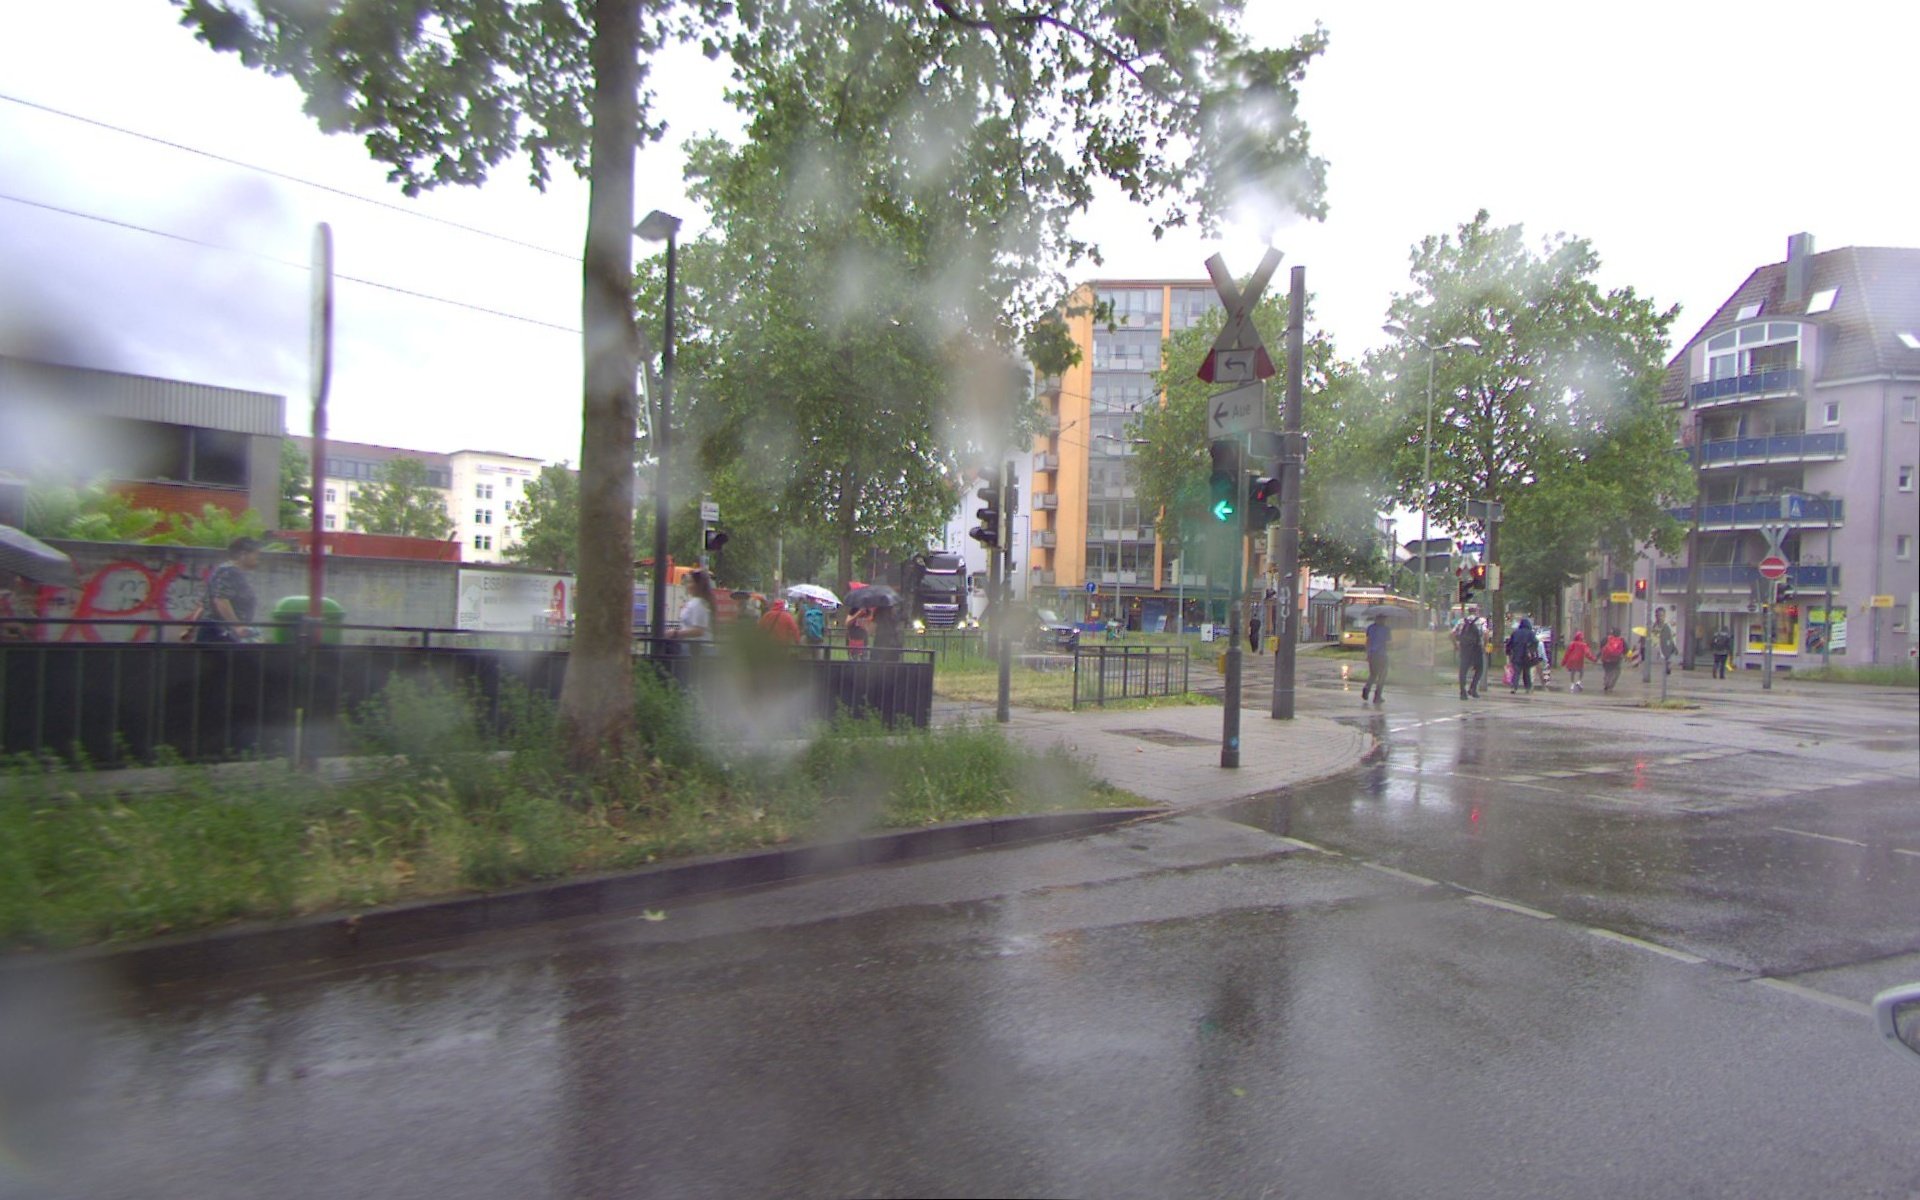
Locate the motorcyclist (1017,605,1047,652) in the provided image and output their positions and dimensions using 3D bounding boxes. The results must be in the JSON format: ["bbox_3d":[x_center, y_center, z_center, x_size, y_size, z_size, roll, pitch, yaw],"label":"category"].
[{"bbox_3d":[2.582,1.028,35.933,0.768,1.635,0.771,2,0,-23],"label":"motorcyclist"}]

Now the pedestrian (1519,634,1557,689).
[{"bbox_3d":[15.017,1.580,26.112,0.704,1.367,0.650,2,0,-44],"label":"pedestrian"}]

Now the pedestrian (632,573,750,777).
[{"bbox_3d":[-2.451,0.649,9.162,0.675,1.752,0.752,2,0,42],"label":"pedestrian"}]

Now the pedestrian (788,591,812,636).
[{"bbox_3d":[-6.937,0.594,43.556,0.765,1.891,0.940,2,0,3],"label":"pedestrian"}]

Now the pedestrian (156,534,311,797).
[{"bbox_3d":[-5.479,0.460,7.571,0.838,1.828,0.818,2,0,-41],"label":"pedestrian"}]

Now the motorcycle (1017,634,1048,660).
[{"bbox_3d":[2.591,1.672,35.941,0.436,0.853,1.539,2,-1,-22],"label":"motorcycle"}]

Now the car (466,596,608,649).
[{"bbox_3d":[-11.963,0.618,28.500,3.447,1.323,1.405,2,0,9],"label":"car"}]

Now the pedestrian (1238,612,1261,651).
[{"bbox_3d":[13.707,1.466,47.612,0.941,1.789,0.953,2,0,20],"label":"pedestrian"}]

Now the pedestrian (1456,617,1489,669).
[{"bbox_3d":[18.329,1.536,35.891,0.943,1.789,0.951,2,0,31],"label":"pedestrian"}]

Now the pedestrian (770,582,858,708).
[{"bbox_3d":[-2.226,0.678,15.461,0.966,1.851,1.077,-1,-1,15],"label":"pedestrian"}]

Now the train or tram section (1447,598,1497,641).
[{"bbox_3d":[47.139,1.832,92.242,2.819,3.592,15.339,2,0,31],"label":"train or tram section"}]

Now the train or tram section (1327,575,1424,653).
[{"bbox_3d":[24.319,0.949,57.956,2.839,3.818,17.213,2,-1,30],"label":"train or tram section"}]

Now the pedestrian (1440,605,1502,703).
[{"bbox_3d":[9.756,1.008,19.175,0.854,1.778,0.826,2,0,41],"label":"pedestrian"}]

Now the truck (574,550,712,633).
[{"bbox_3d":[-13.400,-0.328,42.757,5.384,3.205,2.164,2,0,-16],"label":"truck"}]

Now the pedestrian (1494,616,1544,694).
[{"bbox_3d":[12.589,1.230,22.641,0.823,1.721,0.689,-1,0,17],"label":"pedestrian"}]

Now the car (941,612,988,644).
[{"bbox_3d":[0.203,1.399,51.404,1.358,1.523,3.261,1,0,-19],"label":"car"}]

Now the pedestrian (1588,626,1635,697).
[{"bbox_3d":[15.794,1.475,24.363,0.810,1.646,0.724,0,0,-37],"label":"pedestrian"}]

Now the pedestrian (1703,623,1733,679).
[{"bbox_3d":[26.054,1.743,34.532,0.777,1.880,0.679,2,0,37],"label":"pedestrian"}]

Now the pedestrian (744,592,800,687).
[{"bbox_3d":[-3.223,0.669,17.244,0.782,1.593,0.659,-1,0,2],"label":"pedestrian"}]

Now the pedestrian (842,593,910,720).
[{"bbox_3d":[-1.164,0.774,13.985,0.782,1.705,0.660,-1,0,8],"label":"pedestrian"}]

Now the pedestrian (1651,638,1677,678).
[{"bbox_3d":[25.501,2.083,36.385,0.638,1.414,0.782,2,0,26],"label":"pedestrian"}]

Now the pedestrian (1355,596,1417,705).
[{"bbox_3d":[7.646,0.886,18.064,0.854,1.889,0.892,2,0,15],"label":"pedestrian"}]

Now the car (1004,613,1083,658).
[{"bbox_3d":[3.225,1.363,39.635,1.585,1.551,4.016,1,0,-19],"label":"car"}]

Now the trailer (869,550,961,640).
[{"bbox_3d":[-2.430,-0.203,49.890,2.593,3.899,10.114,2,-1,-13],"label":"trailer"}]

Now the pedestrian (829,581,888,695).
[{"bbox_3d":[-1.763,0.644,17.294,0.769,1.891,0.936,2,0,-18],"label":"pedestrian"}]

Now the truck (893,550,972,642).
[{"bbox_3d":[-1.319,-0.147,45.203,2.593,3.842,4.444,2,0,-14],"label":"truck"}]

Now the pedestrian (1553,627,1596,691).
[{"bbox_3d":[15.230,1.448,24.902,0.653,1.540,0.677,2,0,-36],"label":"pedestrian"}]
